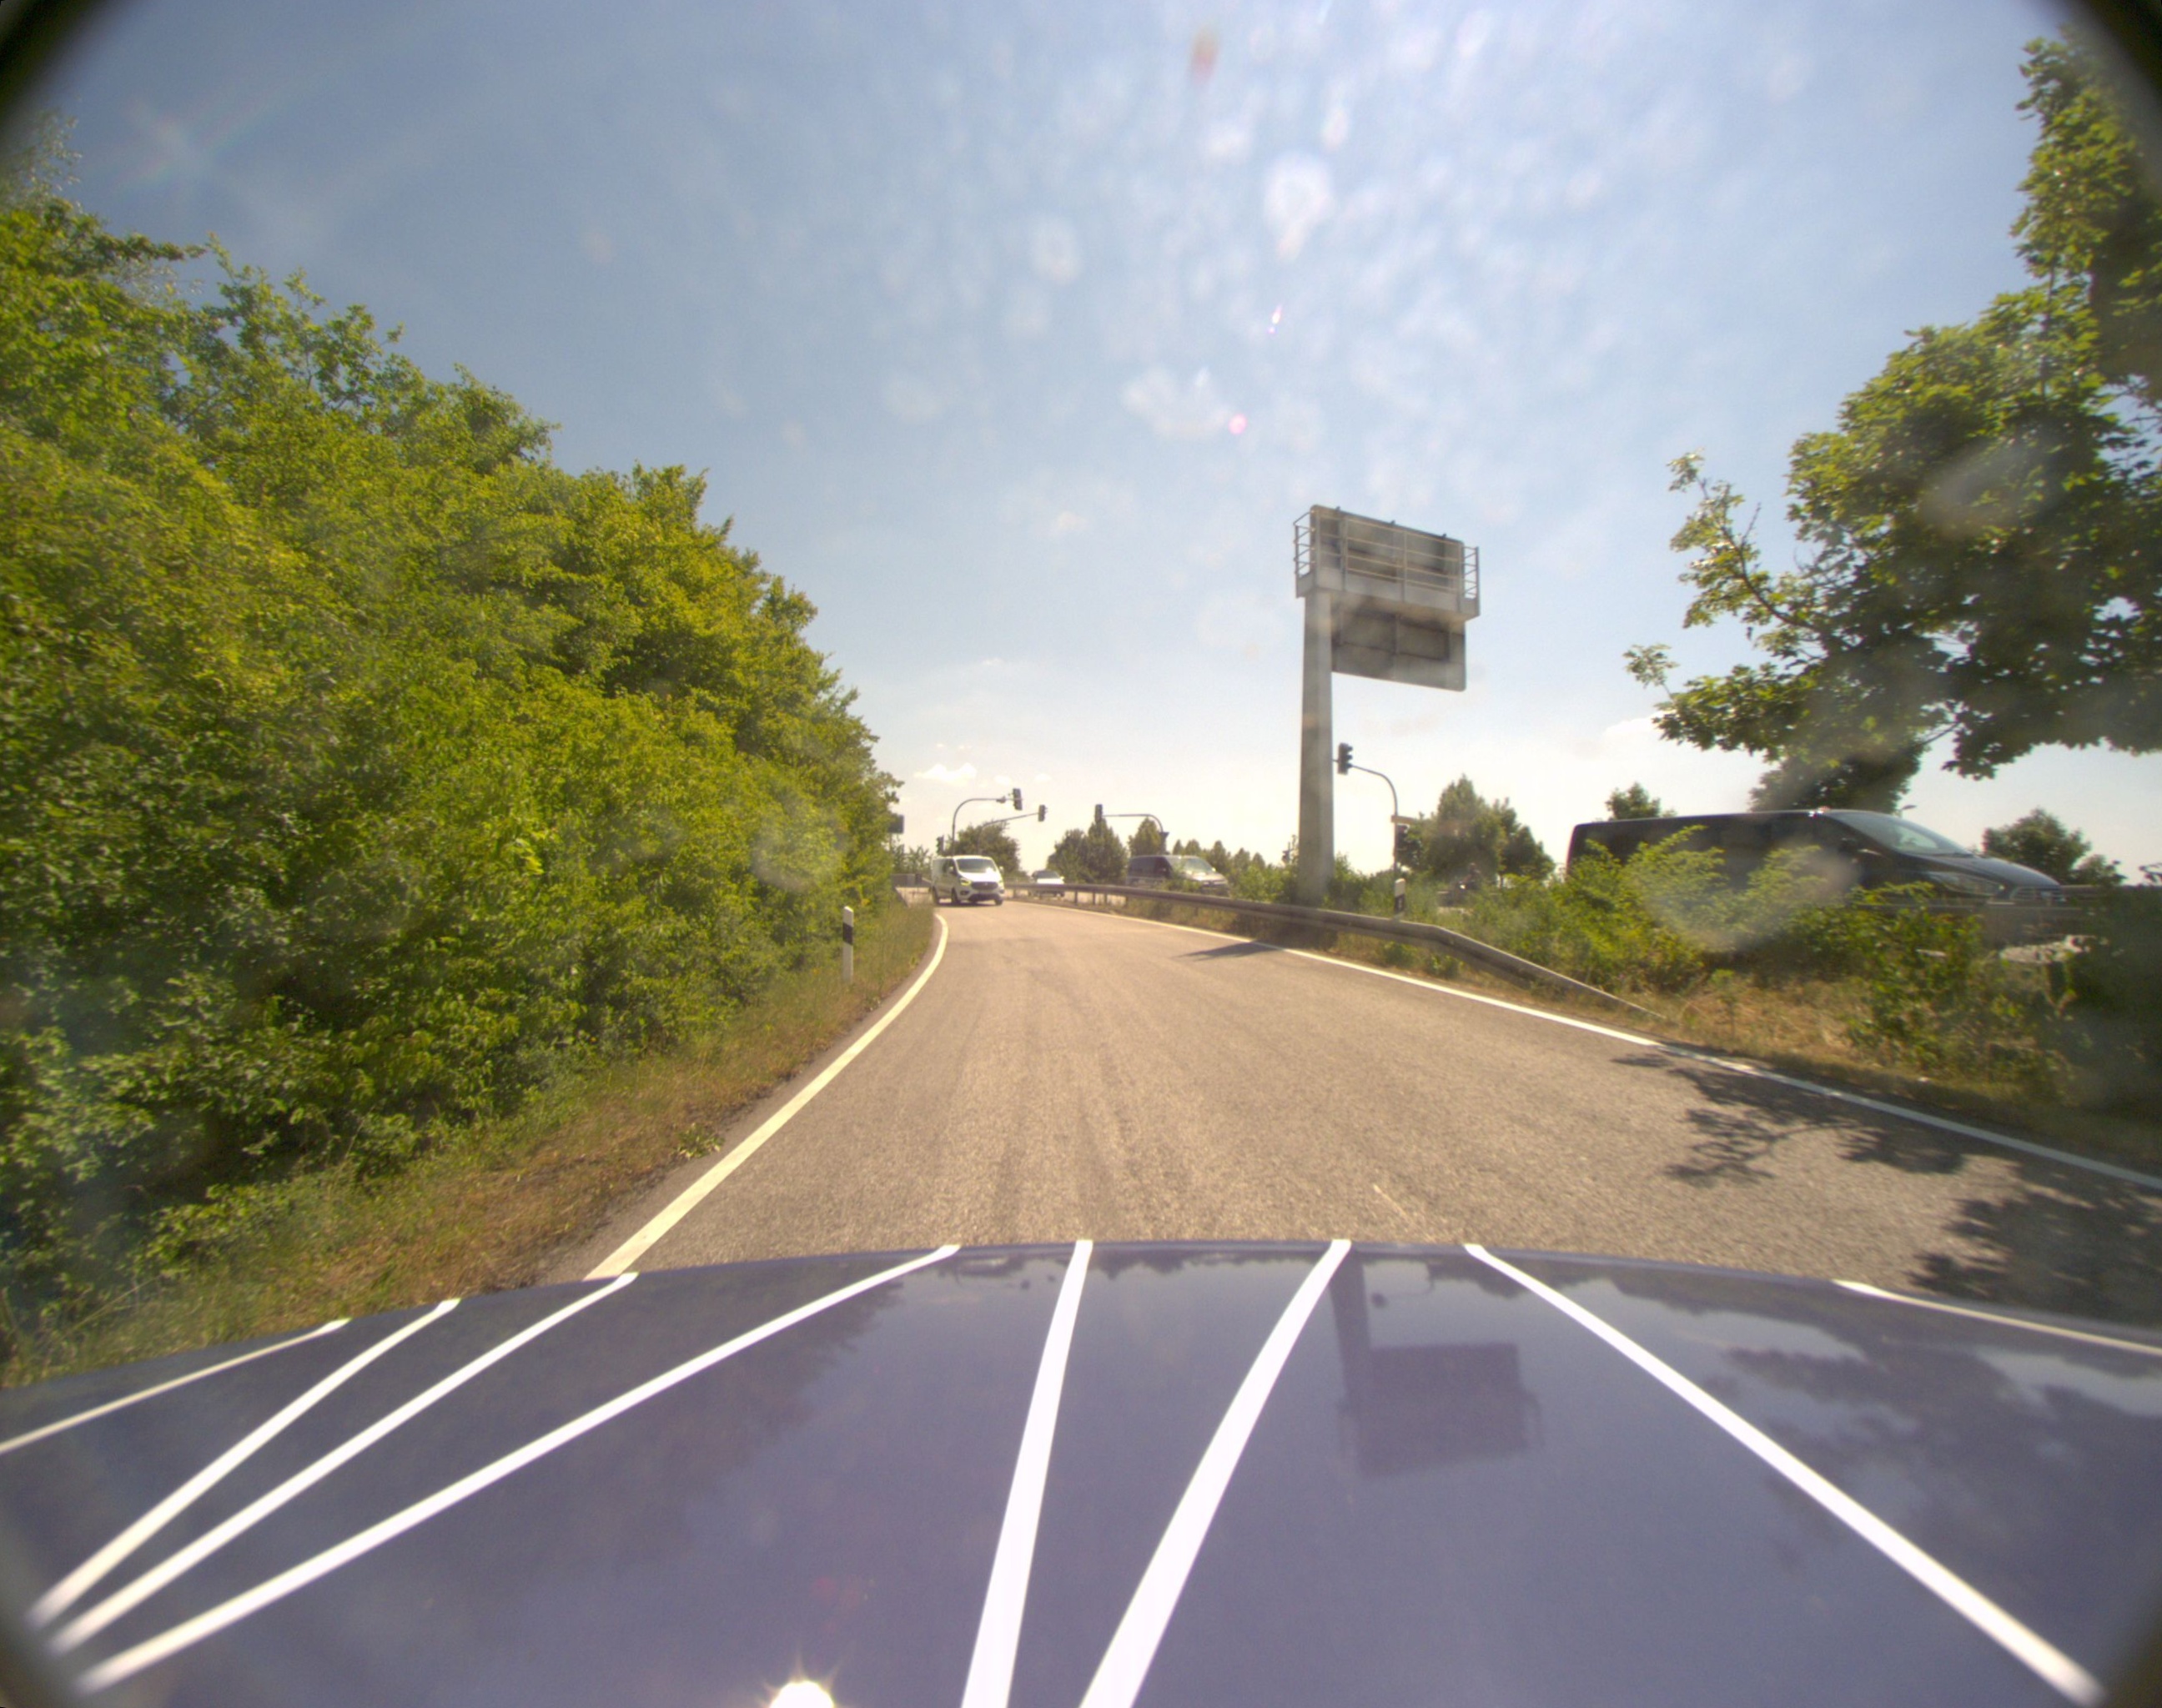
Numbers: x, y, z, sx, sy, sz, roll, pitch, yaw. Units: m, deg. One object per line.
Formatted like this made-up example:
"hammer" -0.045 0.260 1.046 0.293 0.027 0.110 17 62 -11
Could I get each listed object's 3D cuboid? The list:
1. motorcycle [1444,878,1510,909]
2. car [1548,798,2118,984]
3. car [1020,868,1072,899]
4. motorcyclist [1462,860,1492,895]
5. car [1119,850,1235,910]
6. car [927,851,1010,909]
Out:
"motorcycle" 15.050 1.491 28.923 0.565 1.073 2.279 3 -2 -29
"car" 9.993 0.392 10.919 2.127 1.926 5.402 -3 0 -20
"car" -1.997 1.605 42.801 1.792 1.542 3.854 -3 0 -20
"motorcyclist" 15.067 0.905 28.935 0.678 1.294 0.722 4 -3 -29
"car" 3.314 0.905 27.254 1.948 1.907 4.524 3 -2 -25
"car" -4.847 1.018 31.802 2.034 2.072 5.862 -4 1 -22
